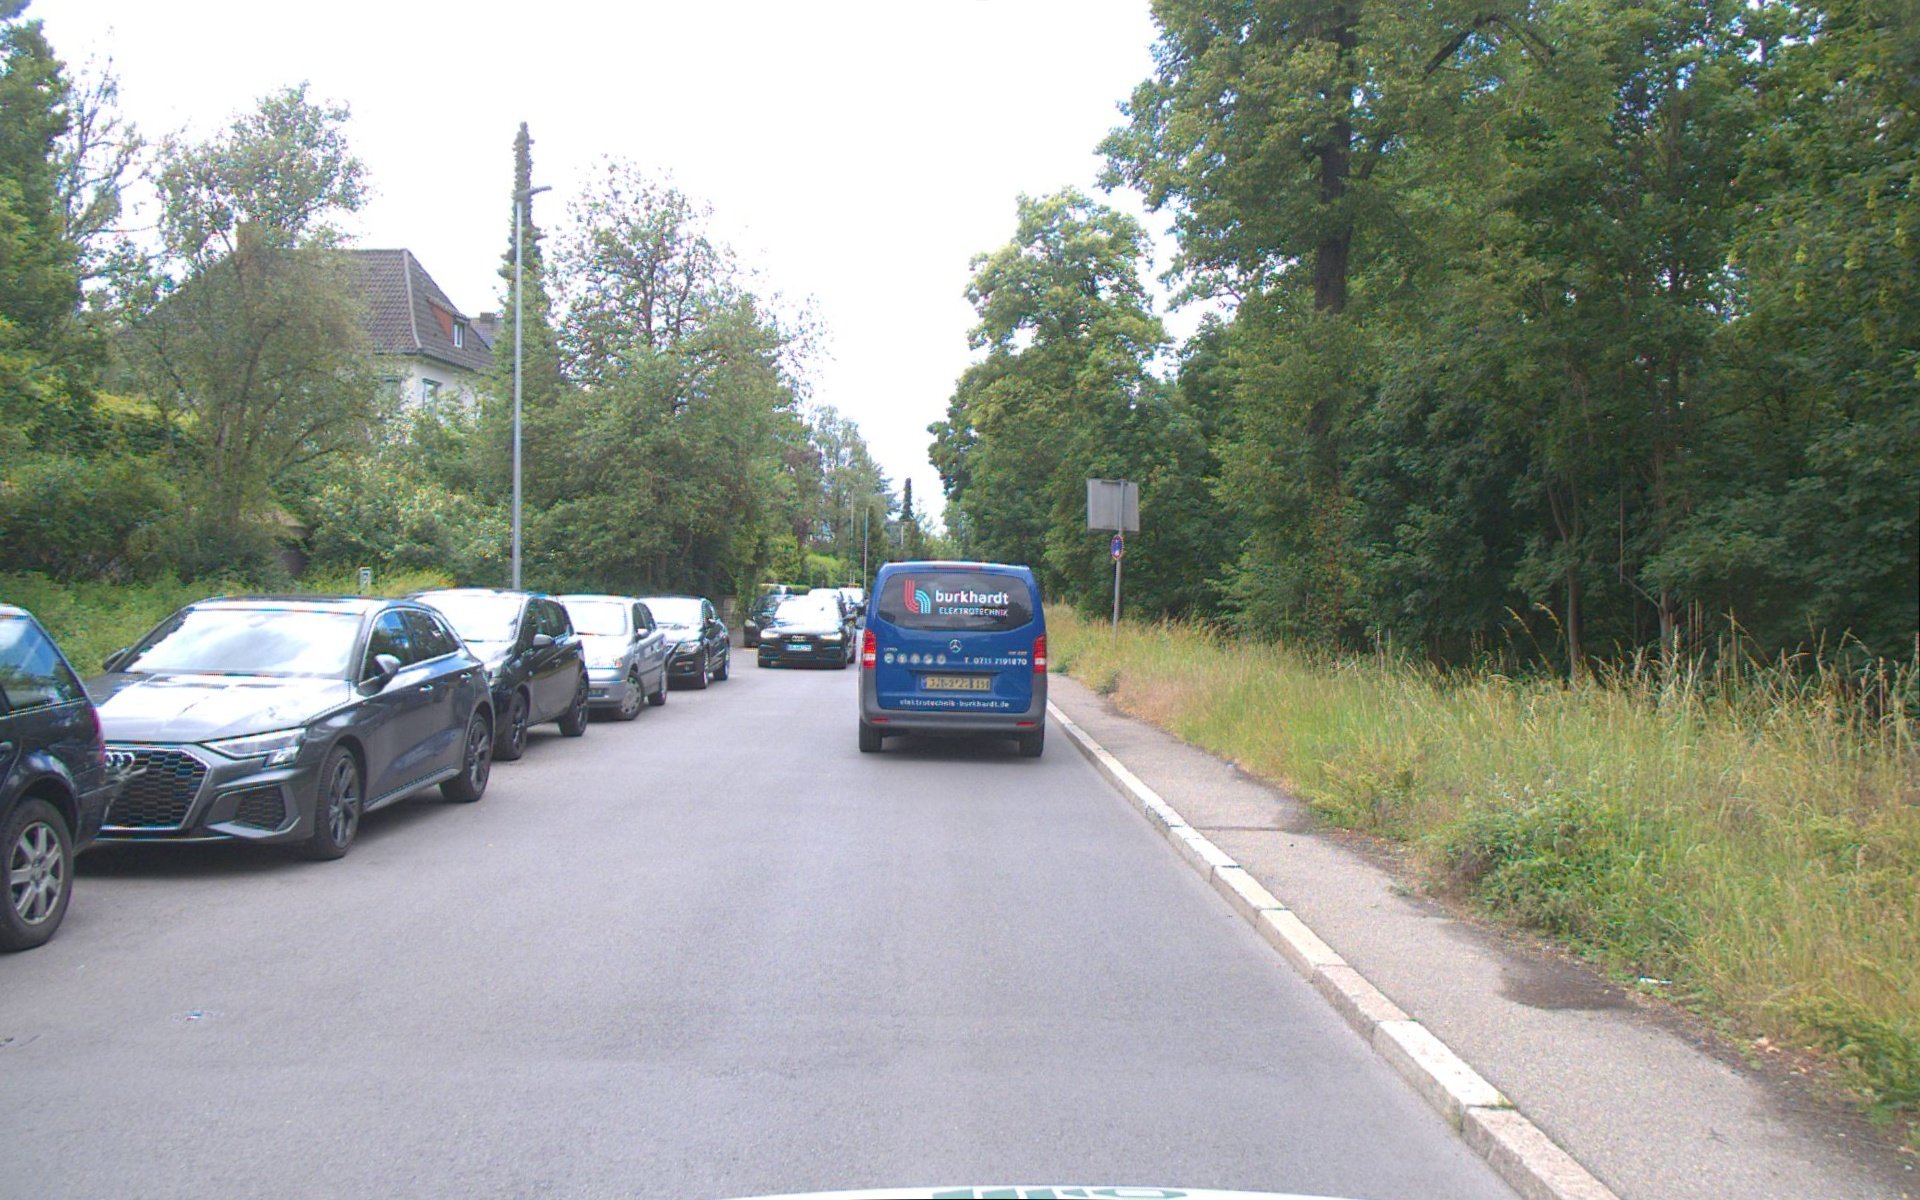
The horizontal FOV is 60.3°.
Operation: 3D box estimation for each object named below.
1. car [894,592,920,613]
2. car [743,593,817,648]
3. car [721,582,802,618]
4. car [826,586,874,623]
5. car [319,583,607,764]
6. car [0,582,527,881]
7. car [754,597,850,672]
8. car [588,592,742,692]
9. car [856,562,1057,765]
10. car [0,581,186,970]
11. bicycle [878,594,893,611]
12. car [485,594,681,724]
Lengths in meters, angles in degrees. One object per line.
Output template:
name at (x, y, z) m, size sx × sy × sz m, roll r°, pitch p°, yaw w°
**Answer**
car at (-4.372, 0.195, 137.581) m, size 1.798 × 1.659 × 4.302 m, roll 3°, pitch 0°, yaw 2°
car at (-5.119, 0.556, 47.420) m, size 1.589 × 1.475 × 3.969 m, roll 1°, pitch 0°, yaw 1°
car at (-9.992, 0.002, 83.376) m, size 3.614 × 1.666 × 1.830 m, roll 3°, pitch 0°, yaw 12°
car at (-5.683, 0.238, 86.312) m, size 1.933 × 1.767 × 5.190 m, roll 2°, pitch 0°, yaw 2°
car at (-4.582, 0.608, 15.826) m, size 1.591 × 1.508 × 3.999 m, roll 0°, pitch 0°, yaw -1°
car at (-4.206, 0.658, 10.611) m, size 1.671 × 1.508 × 4.495 m, roll 0°, pitch 0°, yaw 0°
car at (-3.312, 0.684, 35.411) m, size 1.744 × 1.451 × 4.488 m, roll 1°, pitch 0°, yaw -2°
car at (-4.739, 0.620, 27.206) m, size 1.742 × 1.457 × 5.103 m, roll 1°, pitch 0°, yaw -2°
car at (-0.137, 0.555, 17.374) m, size 1.851 × 1.876 × 3.998 m, roll 1°, pitch 1°, yaw -3°
car at (-4.534, 0.680, 5.634) m, size 1.648 × 1.508 × 4.692 m, roll 0°, pitch 0°, yaw -1°
bicycle at (-6.037, 0.218, 134.697) m, size 0.887 × 1.273 × 2.917 m, roll 4°, pitch 0°, yaw 3°
car at (-4.593, 0.656, 20.719) m, size 1.591 × 1.457 × 4.349 m, roll 0°, pitch 0°, yaw -2°
